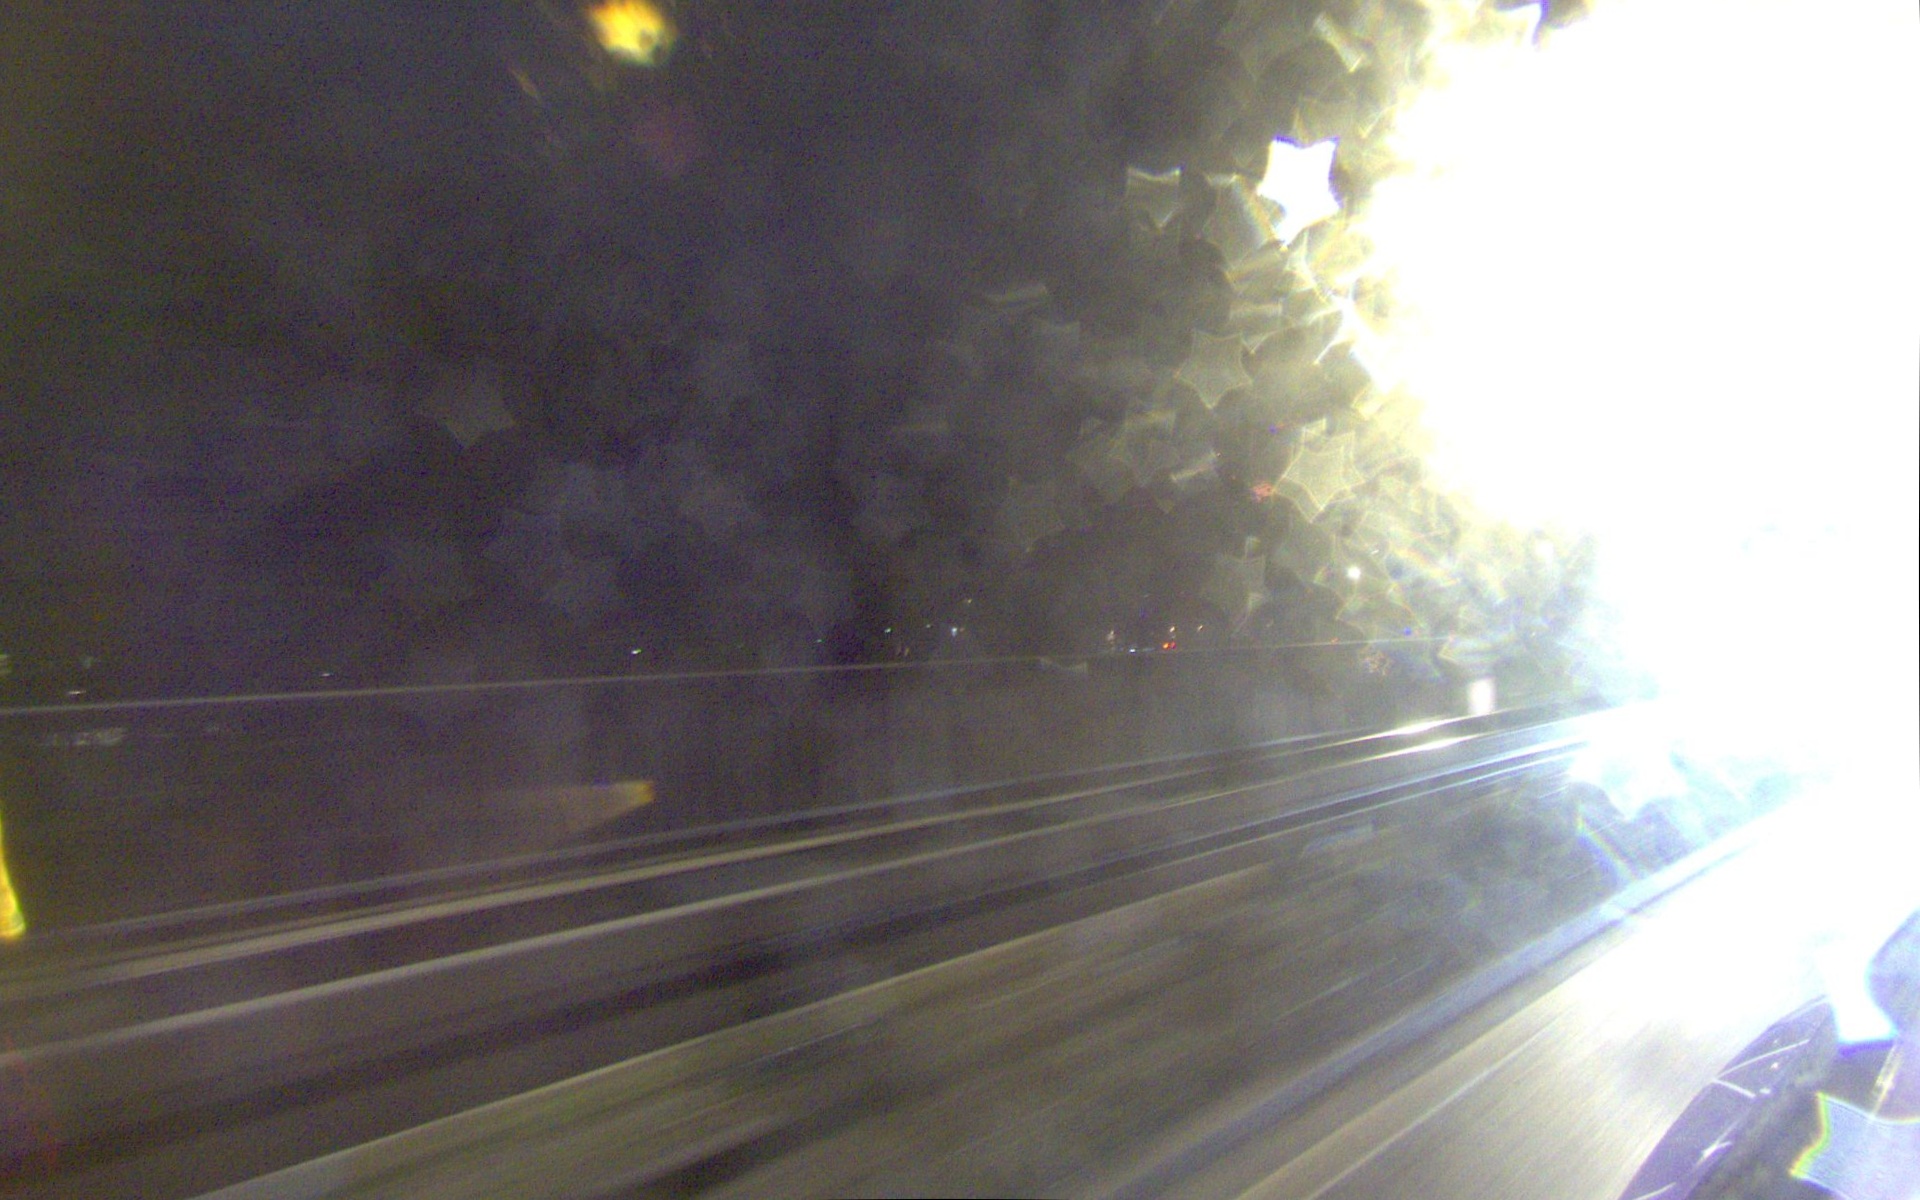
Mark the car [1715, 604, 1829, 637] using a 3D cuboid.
[{"bbox_3d":[44.326,1.080,55.403,1.959,1.660,4.789,1,1,-7],"label":"car"}]

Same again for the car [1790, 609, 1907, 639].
[{"bbox_3d":[47.579,1.254,54.334,1.959,1.426,4.552,1,1,-7],"label":"car"}]

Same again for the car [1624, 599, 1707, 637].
[{"bbox_3d":[43.122,1.114,61.952,1.729,2.040,4.002,-5,-3,-7],"label":"car"}]
